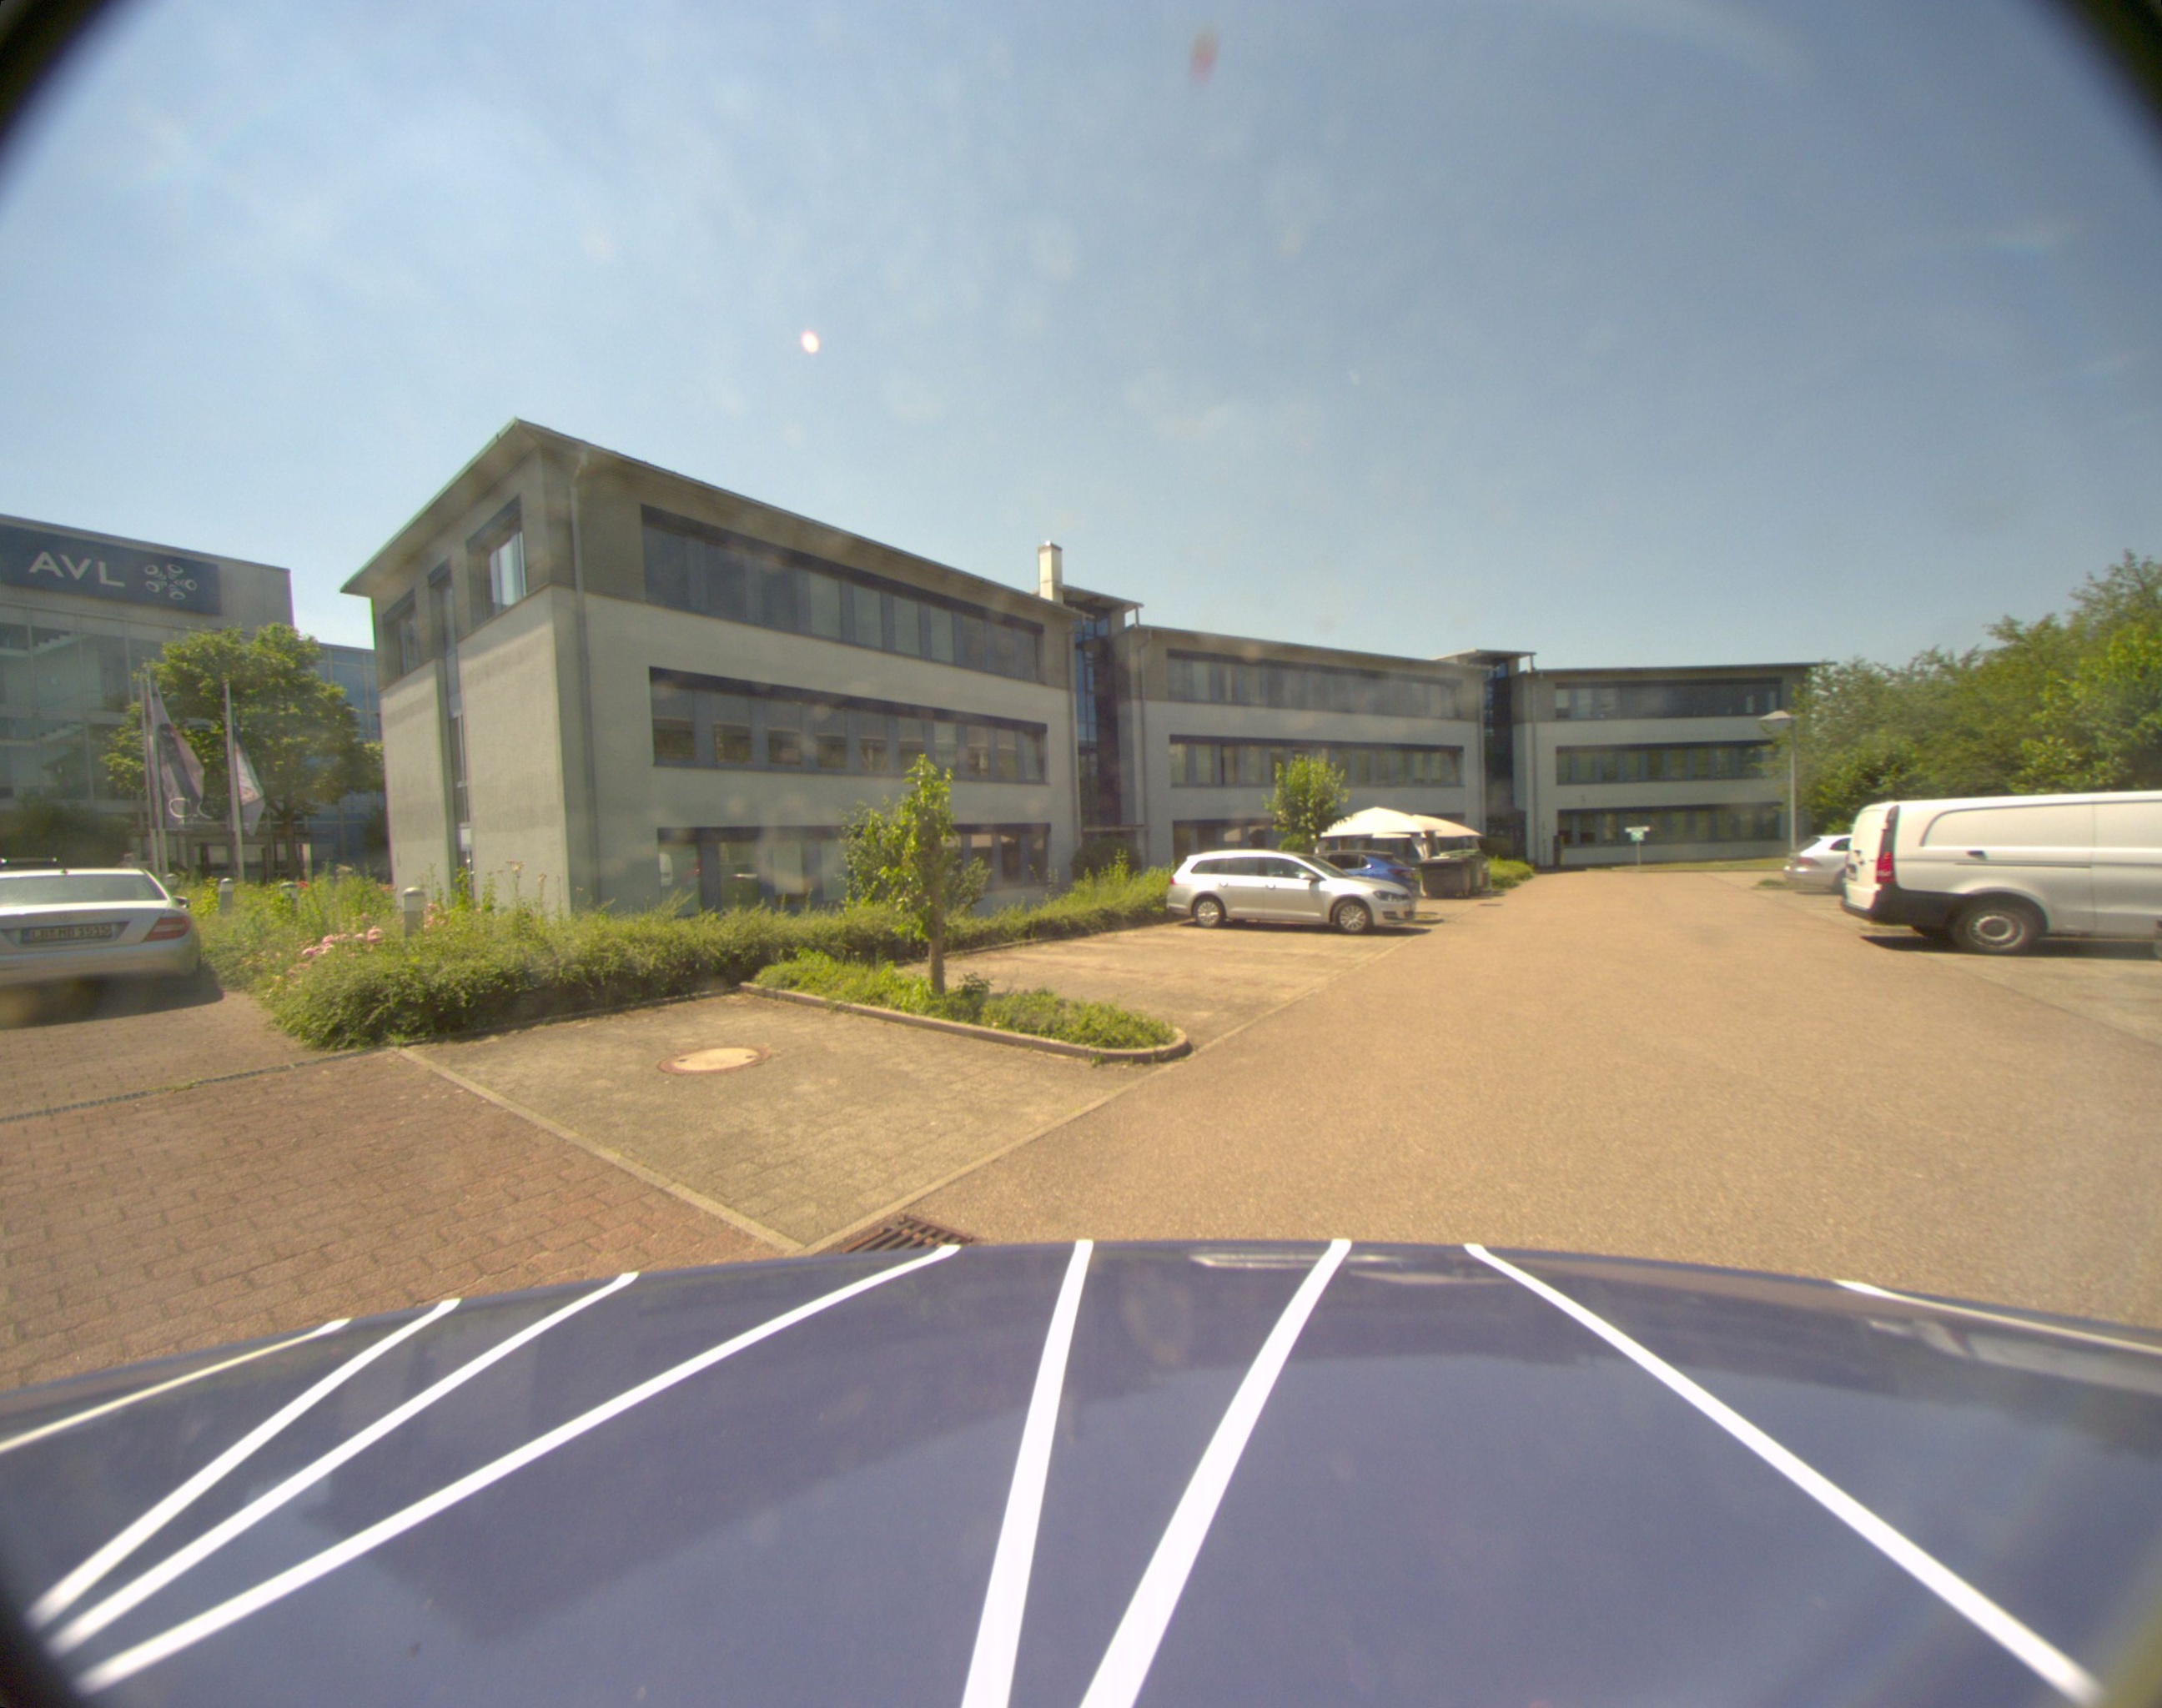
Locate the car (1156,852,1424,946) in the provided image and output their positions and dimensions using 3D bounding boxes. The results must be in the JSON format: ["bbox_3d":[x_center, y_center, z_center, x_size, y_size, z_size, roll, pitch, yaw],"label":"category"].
[{"bbox_3d":[3.853,0.727,14.304,4.508,1.489,1.833,0,2,33],"label":"car"}]

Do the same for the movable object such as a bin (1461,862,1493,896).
[{"bbox_3d":[11.614,0.728,22.291,0.689,0.944,0.723,-1,1,40],"label":"movable object such as a bin"}]

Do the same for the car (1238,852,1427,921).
[{"bbox_3d":[5.722,0.665,17.451,3.816,1.384,1.655,0,2,33],"label":"car"}]

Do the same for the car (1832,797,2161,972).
[{"bbox_3d":[12.103,0.304,8.832,4.508,1.871,1.833,-1,1,33],"label":"car"}]

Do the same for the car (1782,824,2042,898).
[{"bbox_3d":[18.969,0.154,17.611,3.755,1.549,1.664,-1,1,33],"label":"car"}]

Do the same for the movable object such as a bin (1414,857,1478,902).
[{"bbox_3d":[10.062,0.691,20.932,1.361,1.182,0.999,-1,1,40],"label":"movable object such as a bin"}]

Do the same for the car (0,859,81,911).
[{"bbox_3d":[-33.674,0.981,24.324,3.989,1.510,1.753,-1,1,34],"label":"car"}]

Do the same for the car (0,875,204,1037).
[{"bbox_3d":[-11.217,0.988,8.309,3.706,1.428,1.733,-1,1,35],"label":"car"}]

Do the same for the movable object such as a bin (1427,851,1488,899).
[{"bbox_3d":[10.786,0.591,21.762,1.361,1.288,1.045,-1,1,40],"label":"movable object such as a bin"}]
